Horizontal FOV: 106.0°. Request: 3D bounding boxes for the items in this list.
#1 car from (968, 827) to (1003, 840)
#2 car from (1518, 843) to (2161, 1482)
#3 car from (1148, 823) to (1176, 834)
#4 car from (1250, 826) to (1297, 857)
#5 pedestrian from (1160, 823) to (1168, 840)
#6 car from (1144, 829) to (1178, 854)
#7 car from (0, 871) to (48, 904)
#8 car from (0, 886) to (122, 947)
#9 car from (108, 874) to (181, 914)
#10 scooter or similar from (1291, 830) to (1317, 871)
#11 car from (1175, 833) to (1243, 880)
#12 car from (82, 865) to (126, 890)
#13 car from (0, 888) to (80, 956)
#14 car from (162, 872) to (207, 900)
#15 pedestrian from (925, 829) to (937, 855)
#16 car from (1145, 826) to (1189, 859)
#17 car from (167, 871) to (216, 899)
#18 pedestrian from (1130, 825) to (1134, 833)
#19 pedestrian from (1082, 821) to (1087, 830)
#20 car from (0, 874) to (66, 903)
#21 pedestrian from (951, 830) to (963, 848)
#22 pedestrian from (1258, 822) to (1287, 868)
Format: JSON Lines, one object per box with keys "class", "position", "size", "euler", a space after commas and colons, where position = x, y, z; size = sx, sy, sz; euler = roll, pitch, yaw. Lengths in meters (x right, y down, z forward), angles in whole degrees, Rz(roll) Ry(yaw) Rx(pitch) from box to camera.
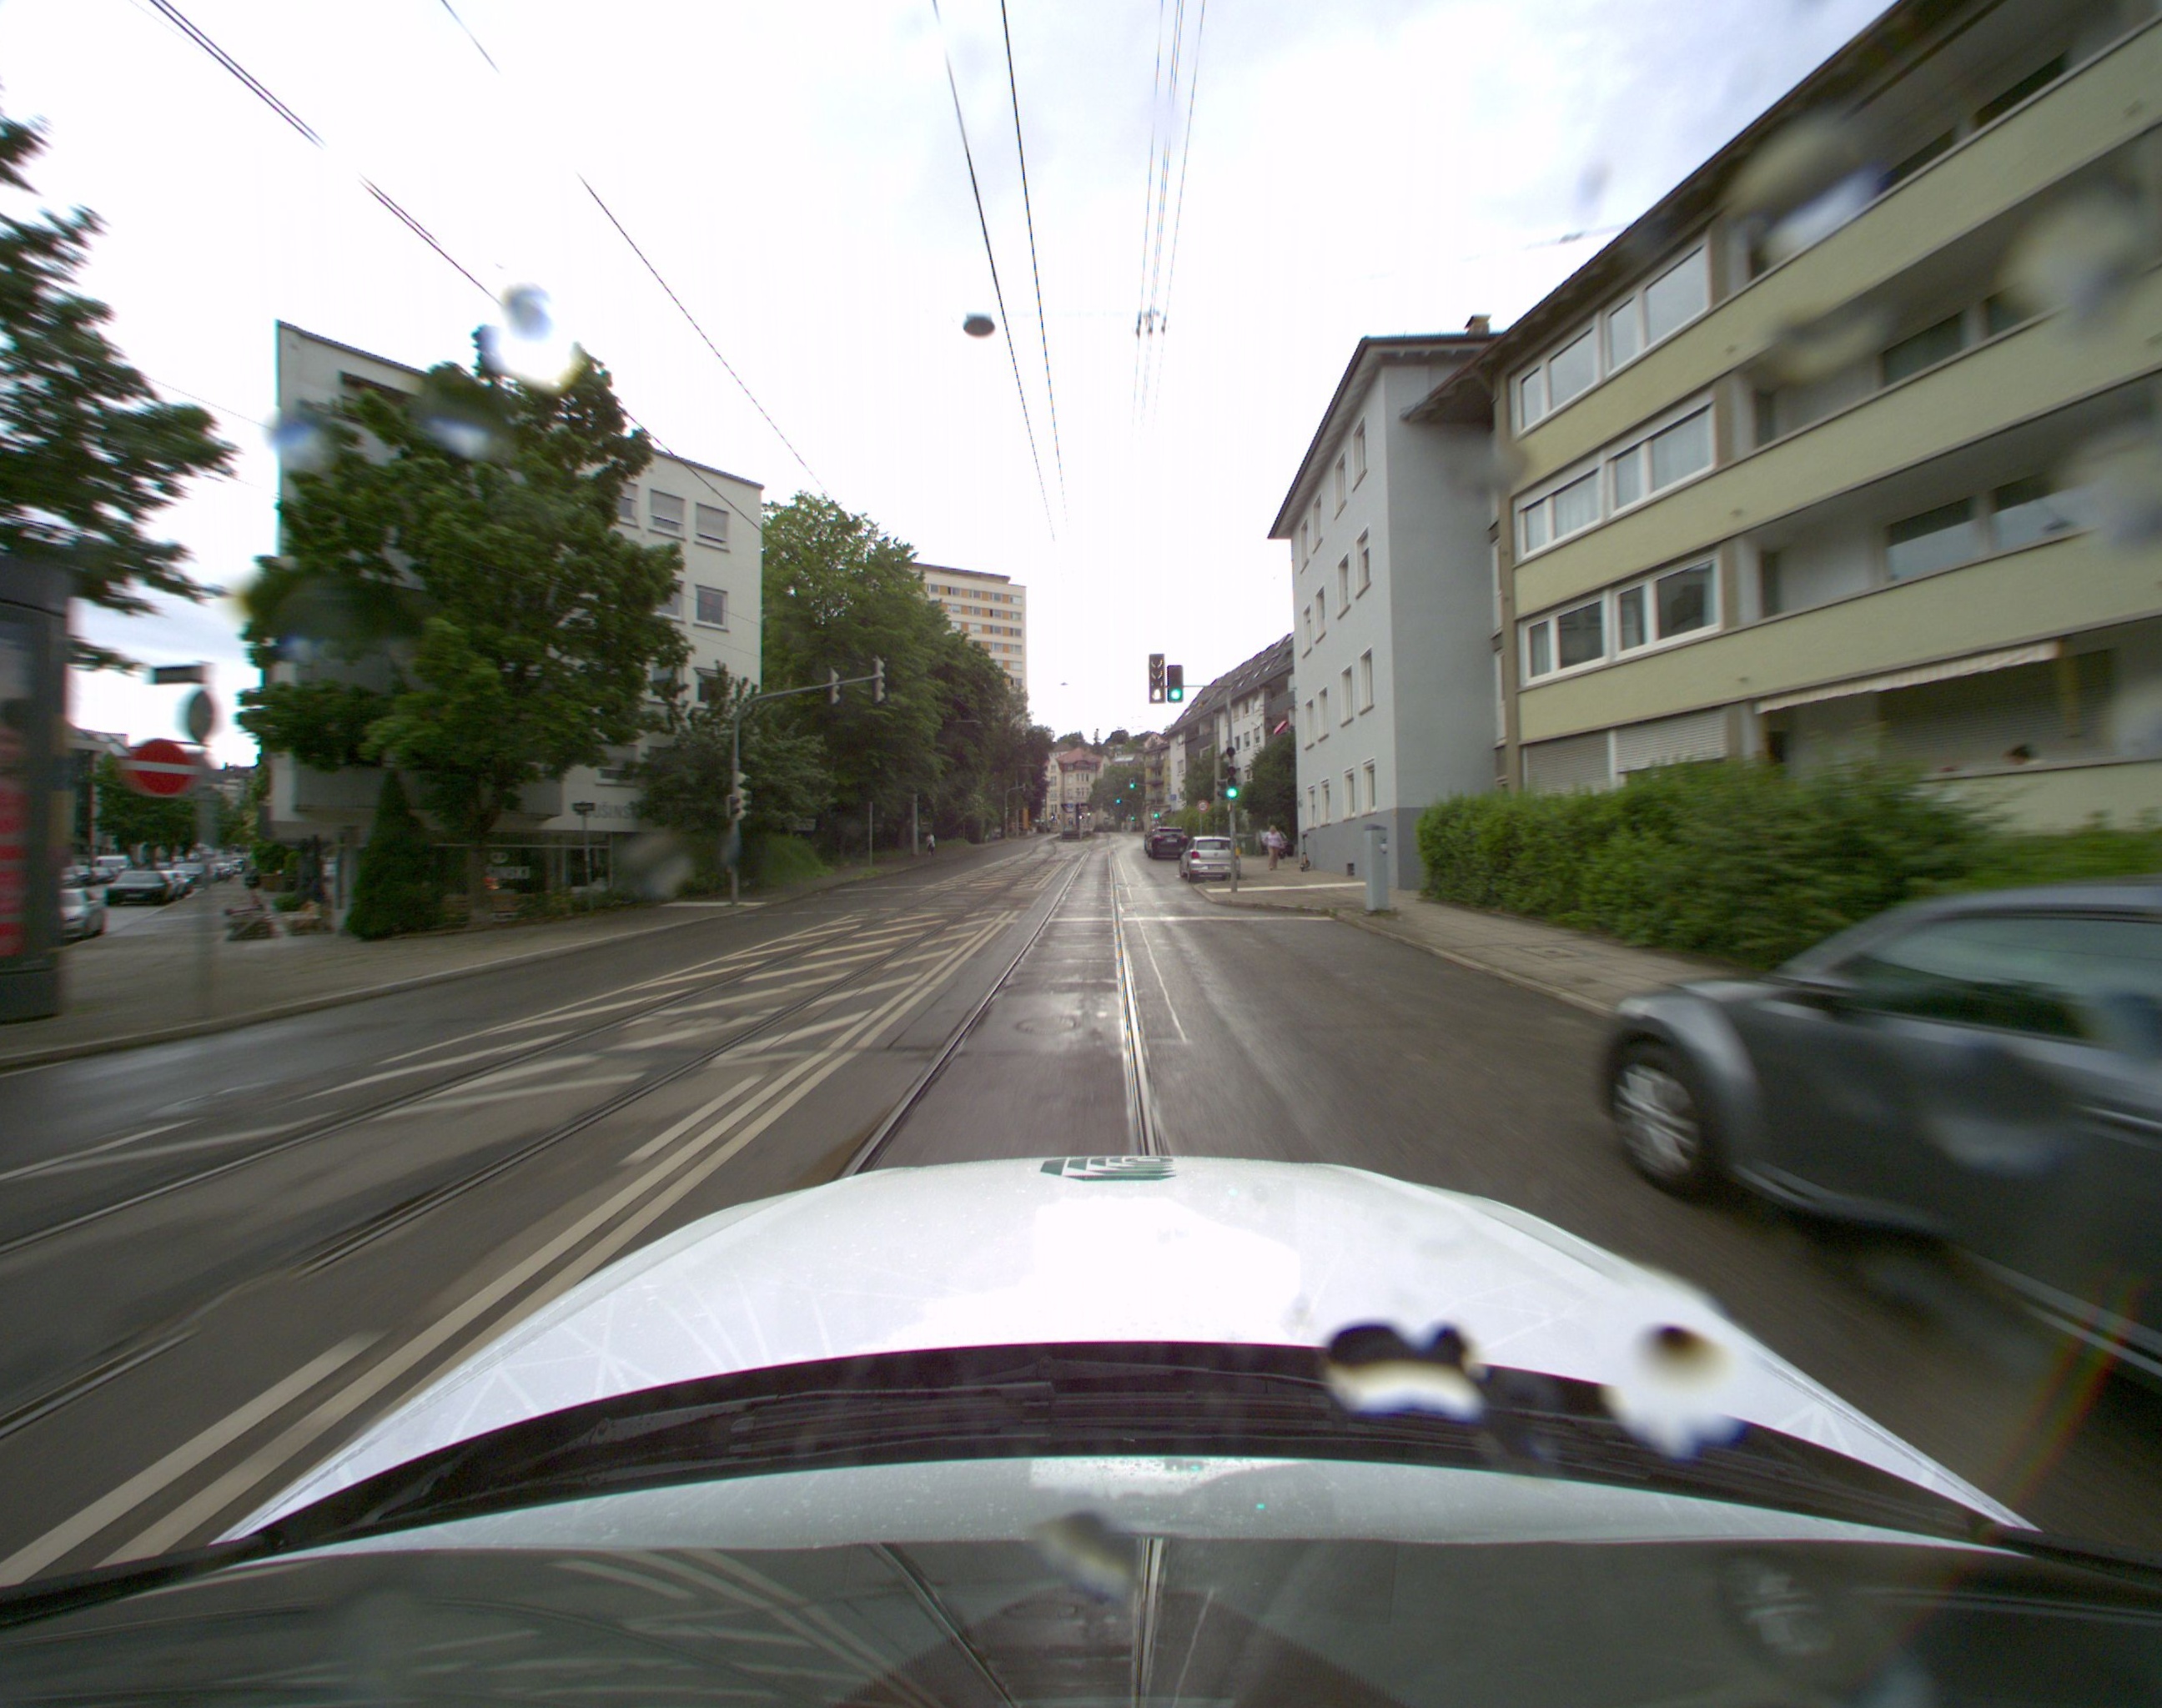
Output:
{"class": "car", "position": [-11.668, -2.437, 99.533], "size": [3.951, 1.406, 1.692], "euler": [-1, -2, 24]}
{"class": "car", "position": [3.443, 0.715, 2.504], "size": [1.934, 1.464, 4.205], "euler": [0, -1, 0]}
{"class": "car", "position": [11.910, -3.730, 120.195], "size": [3.973, 1.645, 1.808], "euler": [0, 0, 1]}
{"class": "car", "position": [10.729, -0.663, 45.663], "size": [1.714, 1.515, 4.204], "euler": [0, -2, 1]}
{"class": "pedestrian", "position": [7.845, -2.112, 77.368], "size": [0.640, 1.628, 0.702], "euler": [0, 0, 14]}
{"class": "car", "position": [4.801, -0.791, 49.551], "size": [1.699, 1.427, 4.251], "euler": [1, 2, 1]}
{"class": "car", "position": [-57.538, 1.800, 43.789], "size": [3.950, 1.721, 2.011], "euler": [-2, -3, 45]}
{"class": "car", "position": [-29.862, 1.754, 23.795], "size": [4.615, 1.596, 2.011], "euler": [-2, -3, 45]}
{"class": "car", "position": [-45.451, 1.916, 39.609], "size": [3.950, 1.860, 2.011], "euler": [-2, -3, 45]}
{"class": "scooter or similar", "position": [7.615, -0.138, 27.905], "size": [0.571, 1.249, 1.614], "euler": [-3, 3, 7]}
{"class": "car", "position": [4.211, 0.038, 27.393], "size": [1.699, 1.433, 4.103], "euler": [1, 2, 1]}
{"class": "car", "position": [-83.093, 2.026, 69.340], "size": [3.950, 2.014, 2.011], "euler": [-2, -3, 45]}
{"class": "car", "position": [-26.156, 1.601, 19.712], "size": [3.950, 1.518, 2.011], "euler": [-2, -3, 45]}
{"class": "car", "position": [-66.818, 2.375, 60.748], "size": [3.950, 2.014, 2.011], "euler": [-2, -3, 45]}
{"class": "pedestrian", "position": [-9.297, -0.740, 50.362], "size": [0.581, 1.600, 0.869], "euler": [1, 1, -2]}
{"class": "car", "position": [4.556, -0.654, 43.643], "size": [1.900, 1.641, 4.691], "euler": [1, 2, 1]}
{"class": "car", "position": [-59.316, 2.066, 54.353], "size": [3.950, 1.816, 2.011], "euler": [-2, -3, 45]}
{"class": "pedestrian", "position": [9.159, -4.549, 146.657], "size": [0.577, 1.467, 0.543], "euler": [0, -2, -6]}
{"class": "pedestrian", "position": [0.627, -5.054, 143.300], "size": [0.654, 1.467, 0.773], "euler": [-2, -2, 4]}
{"class": "car", "position": [-61.236, 1.992, 47.653], "size": [4.149, 1.642, 1.853], "euler": [-2, -2, 45]}
{"class": "pedestrian", "position": [-11.621, -1.396, 76.338], "size": [0.907, 1.678, 0.745], "euler": [-1, -3, 28]}
{"class": "pedestrian", "position": [6.877, -0.330, 29.290], "size": [0.879, 1.583, 0.802], "euler": [-2, 3, 3]}
